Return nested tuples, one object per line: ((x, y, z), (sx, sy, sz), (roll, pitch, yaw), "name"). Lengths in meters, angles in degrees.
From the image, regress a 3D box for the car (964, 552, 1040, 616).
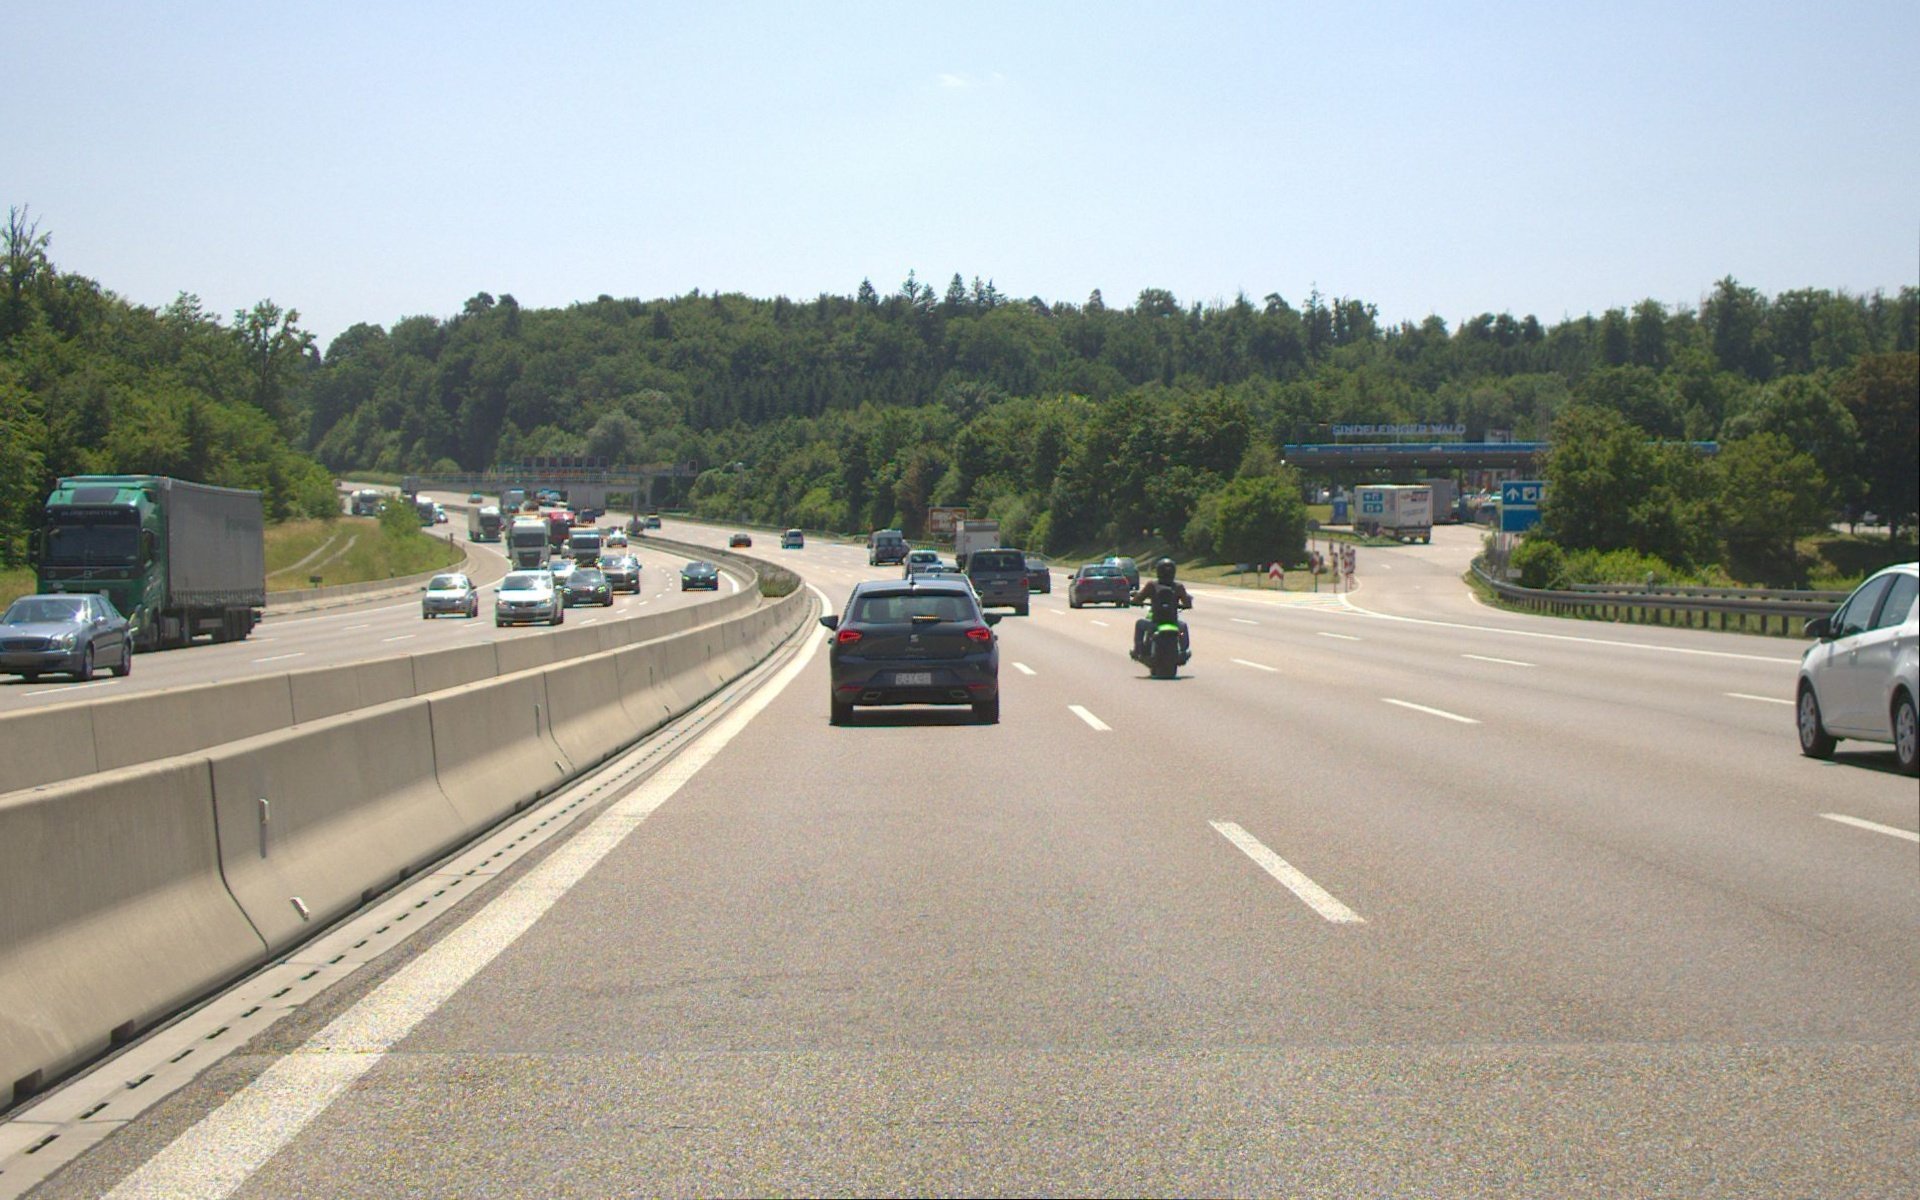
((1.239, -0.487, 103.176), (2.097, 1.845, 4.081), (-1, 0, -2), "car")

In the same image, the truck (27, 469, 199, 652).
((-19.435, -0.905, 79.147), (2.657, 4.012, 5.511), (-1, 1, -2), "truck")

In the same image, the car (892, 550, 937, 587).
((-2.300, -1.588, 172.738), (1.993, 1.678, 4.424), (2, 2, -4), "car")

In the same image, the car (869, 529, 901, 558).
((-5.429, -4.085, 248.657), (1.993, 2.006, 4.675), (2, 2, -4), "car")

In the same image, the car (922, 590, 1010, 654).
((0.108, 0.447, 72.431), (1.782, 1.261, 3.460), (-1, 1, -1), "car")

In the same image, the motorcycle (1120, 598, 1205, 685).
((2.788, 0.565, 47.504), (0.977, 1.125, 2.271), (0, 1, -2), "motorcycle")

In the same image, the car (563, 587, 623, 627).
((-14.602, 0.270, 137.072), (1.872, 1.471, 5.112), (-3, 0, -1), "car")

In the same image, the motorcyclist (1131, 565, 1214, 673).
((2.917, 0.249, 47.359), (0.962, 1.432, 1.235), (-1, 1, -4), "motorcyclist")

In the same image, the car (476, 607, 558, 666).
((-12.736, 1.032, 99.111), (1.831, 1.556, 4.777), (-1, 0, -1), "car")

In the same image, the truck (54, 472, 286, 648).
((-19.594, -0.999, 86.332), (2.690, 4.012, 14.299), (-1, 1, -1), "truck")

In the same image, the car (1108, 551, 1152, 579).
((7.325, -1.510, 148.403), (1.608, 1.208, 3.460), (-1, 1, -1), "car")

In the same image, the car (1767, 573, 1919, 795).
((7.256, 0.542, 24.923), (1.666, 1.428, 4.376), (-3, 1, -1), "car")

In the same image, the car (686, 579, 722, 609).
((-12.846, -0.305, 172.656), (1.601, 1.463, 4.506), (-1, 0, -2), "car")

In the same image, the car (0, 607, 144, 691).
((-15.090, 0.790, 57.538), (1.831, 1.297, 4.730), (0, 0, -1), "car")

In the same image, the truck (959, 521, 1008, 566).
((1.520, -3.747, 227.340), (2.726, 2.776, 5.684), (2, 2, -4), "truck")

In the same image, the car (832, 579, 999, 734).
((-0.426, 0.538, 35.445), (1.624, 1.482, 3.685), (-1, 1, 0), "car")

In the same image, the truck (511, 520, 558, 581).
((-29.768, -3.444, 240.838), (2.682, 4.163, 6.232), (-1, 1, -2), "truck")

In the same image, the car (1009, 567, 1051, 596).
((2.973, -0.781, 146.069), (1.608, 1.208, 3.460), (0, 0, -1), "car")

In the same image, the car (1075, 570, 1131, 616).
((4.671, -0.241, 112.418), (1.675, 1.427, 3.685), (1, 1, 0), "car")

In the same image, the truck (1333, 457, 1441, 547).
((31.203, -7.083, 252.132), (5.508, 6.245, 15.432), (-1, 1, -2), "truck")

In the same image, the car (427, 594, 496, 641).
((-17.311, 0.600, 119.472), (1.872, 1.529, 4.136), (-1, 0, -2), "car")
